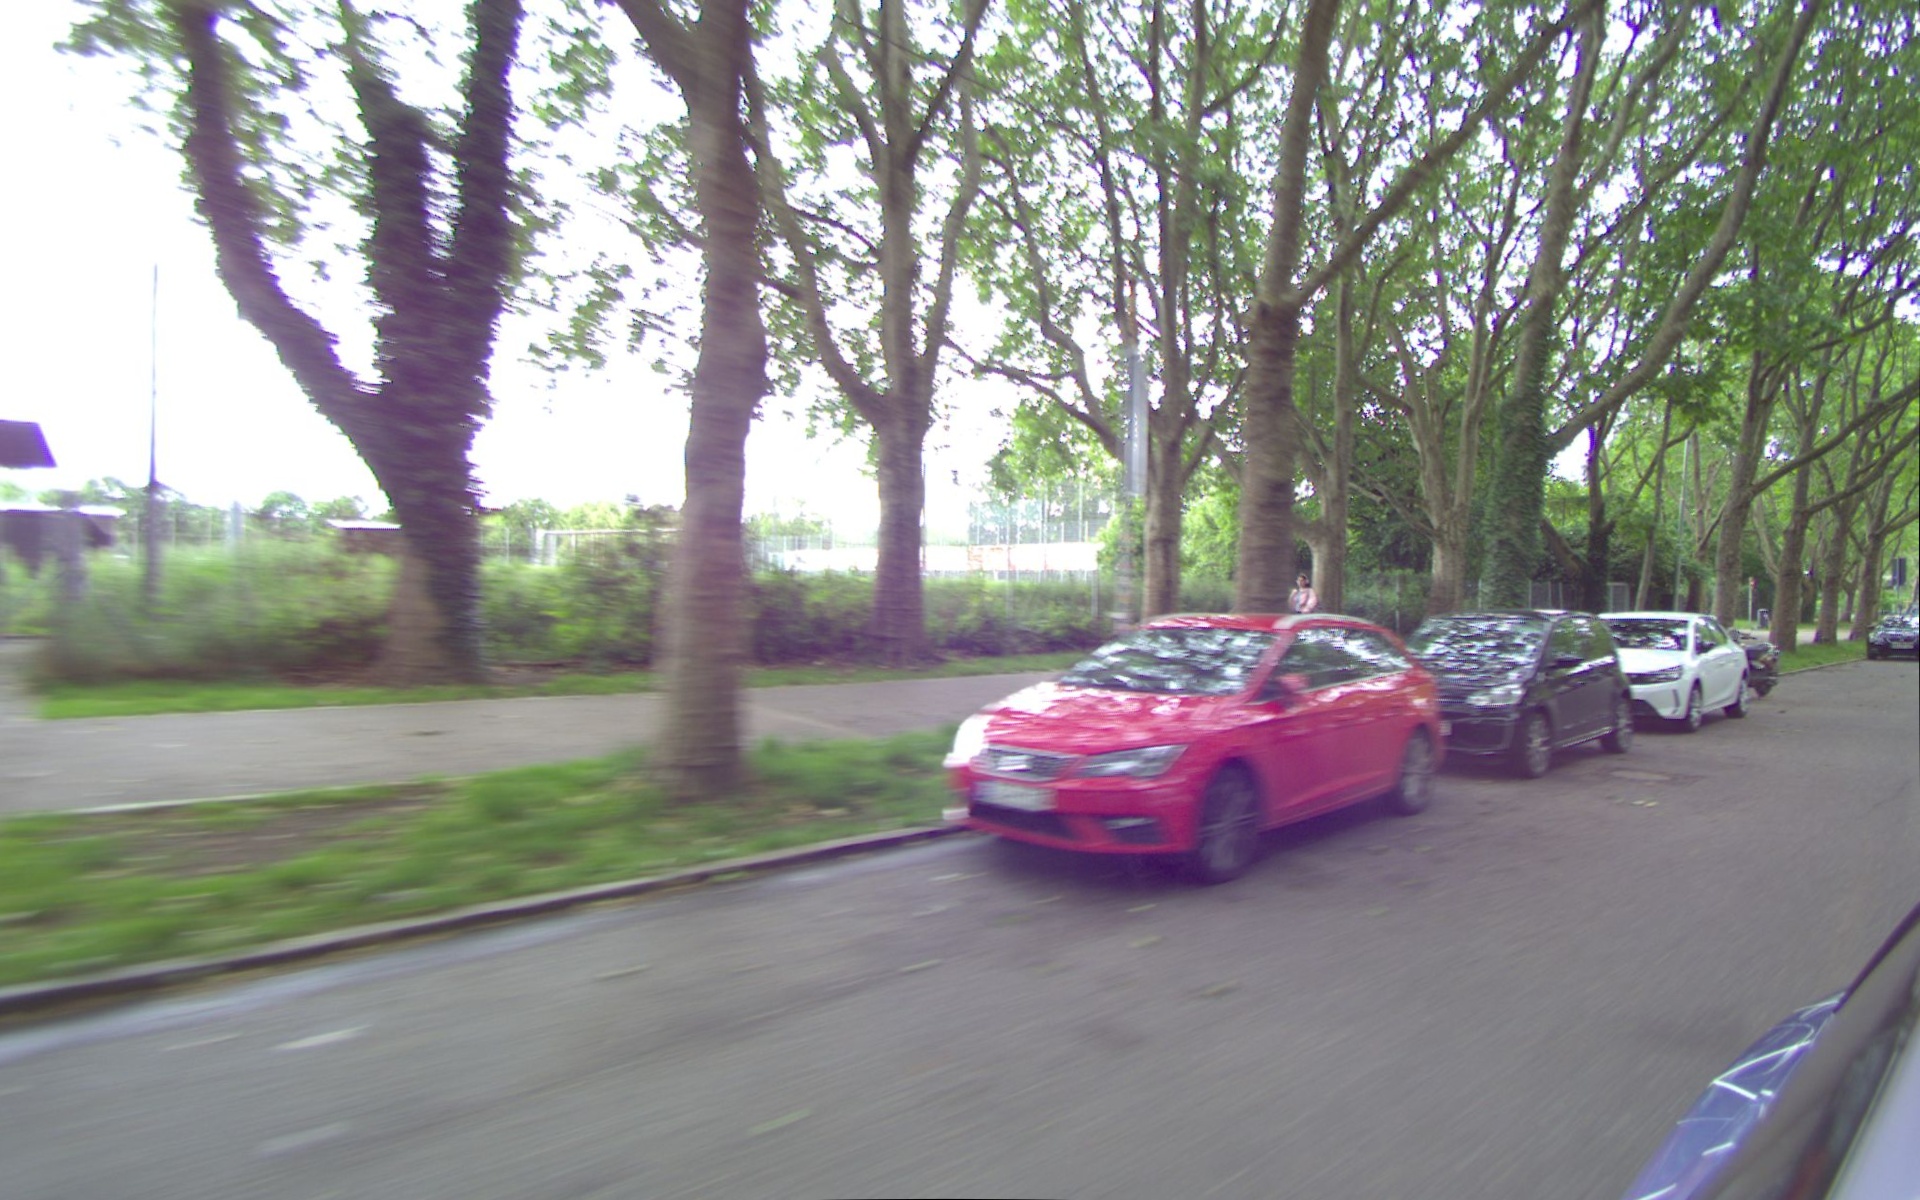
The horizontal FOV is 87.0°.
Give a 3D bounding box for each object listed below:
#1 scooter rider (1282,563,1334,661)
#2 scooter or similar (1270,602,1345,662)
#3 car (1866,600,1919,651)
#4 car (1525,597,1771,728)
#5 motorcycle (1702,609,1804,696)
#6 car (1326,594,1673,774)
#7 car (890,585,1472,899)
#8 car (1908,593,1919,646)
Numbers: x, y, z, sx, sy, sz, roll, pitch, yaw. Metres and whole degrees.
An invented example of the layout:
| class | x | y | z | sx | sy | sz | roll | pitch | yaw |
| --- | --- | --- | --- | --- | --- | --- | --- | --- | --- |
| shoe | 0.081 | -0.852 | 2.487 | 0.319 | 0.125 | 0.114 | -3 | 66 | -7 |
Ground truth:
| class | x | y | z | sx | sy | sz | roll | pitch | yaw |
| --- | --- | --- | --- | --- | --- | --- | --- | --- | --- |
| scooter rider | 6.694 | 0.224 | 19.474 | 0.577 | 1.822 | 0.678 | 1 | 2 | -40 |
| scooter or similar | 6.702 | 0.600 | 19.512 | 1.441 | 1.050 | 0.682 | 1 | 3 | -41 |
| car | 29.695 | 0.758 | 31.282 | 4.294 | 1.497 | 1.997 | 1 | -1 | -41 |
| car | 9.258 | 0.717 | 13.504 | 4.050 | 1.456 | 1.738 | 0 | 1 | -41 |
| motorcycle | 13.139 | 0.836 | 16.753 | 1.953 | 1.348 | 0.715 | 1 | 0 | -33 |
| car | 5.622 | 0.723 | 10.361 | 4.007 | 1.489 | 1.733 | 0 | -2 | -40 |
| car | 1.796 | 0.682 | 6.942 | 4.553 | 1.457 | 1.717 | 0 | -1 | -45 |
| car | 34.789 | 0.691 | 35.608 | 1.840 | 1.806 | 4.381 | -1 | -2 | 40 |
